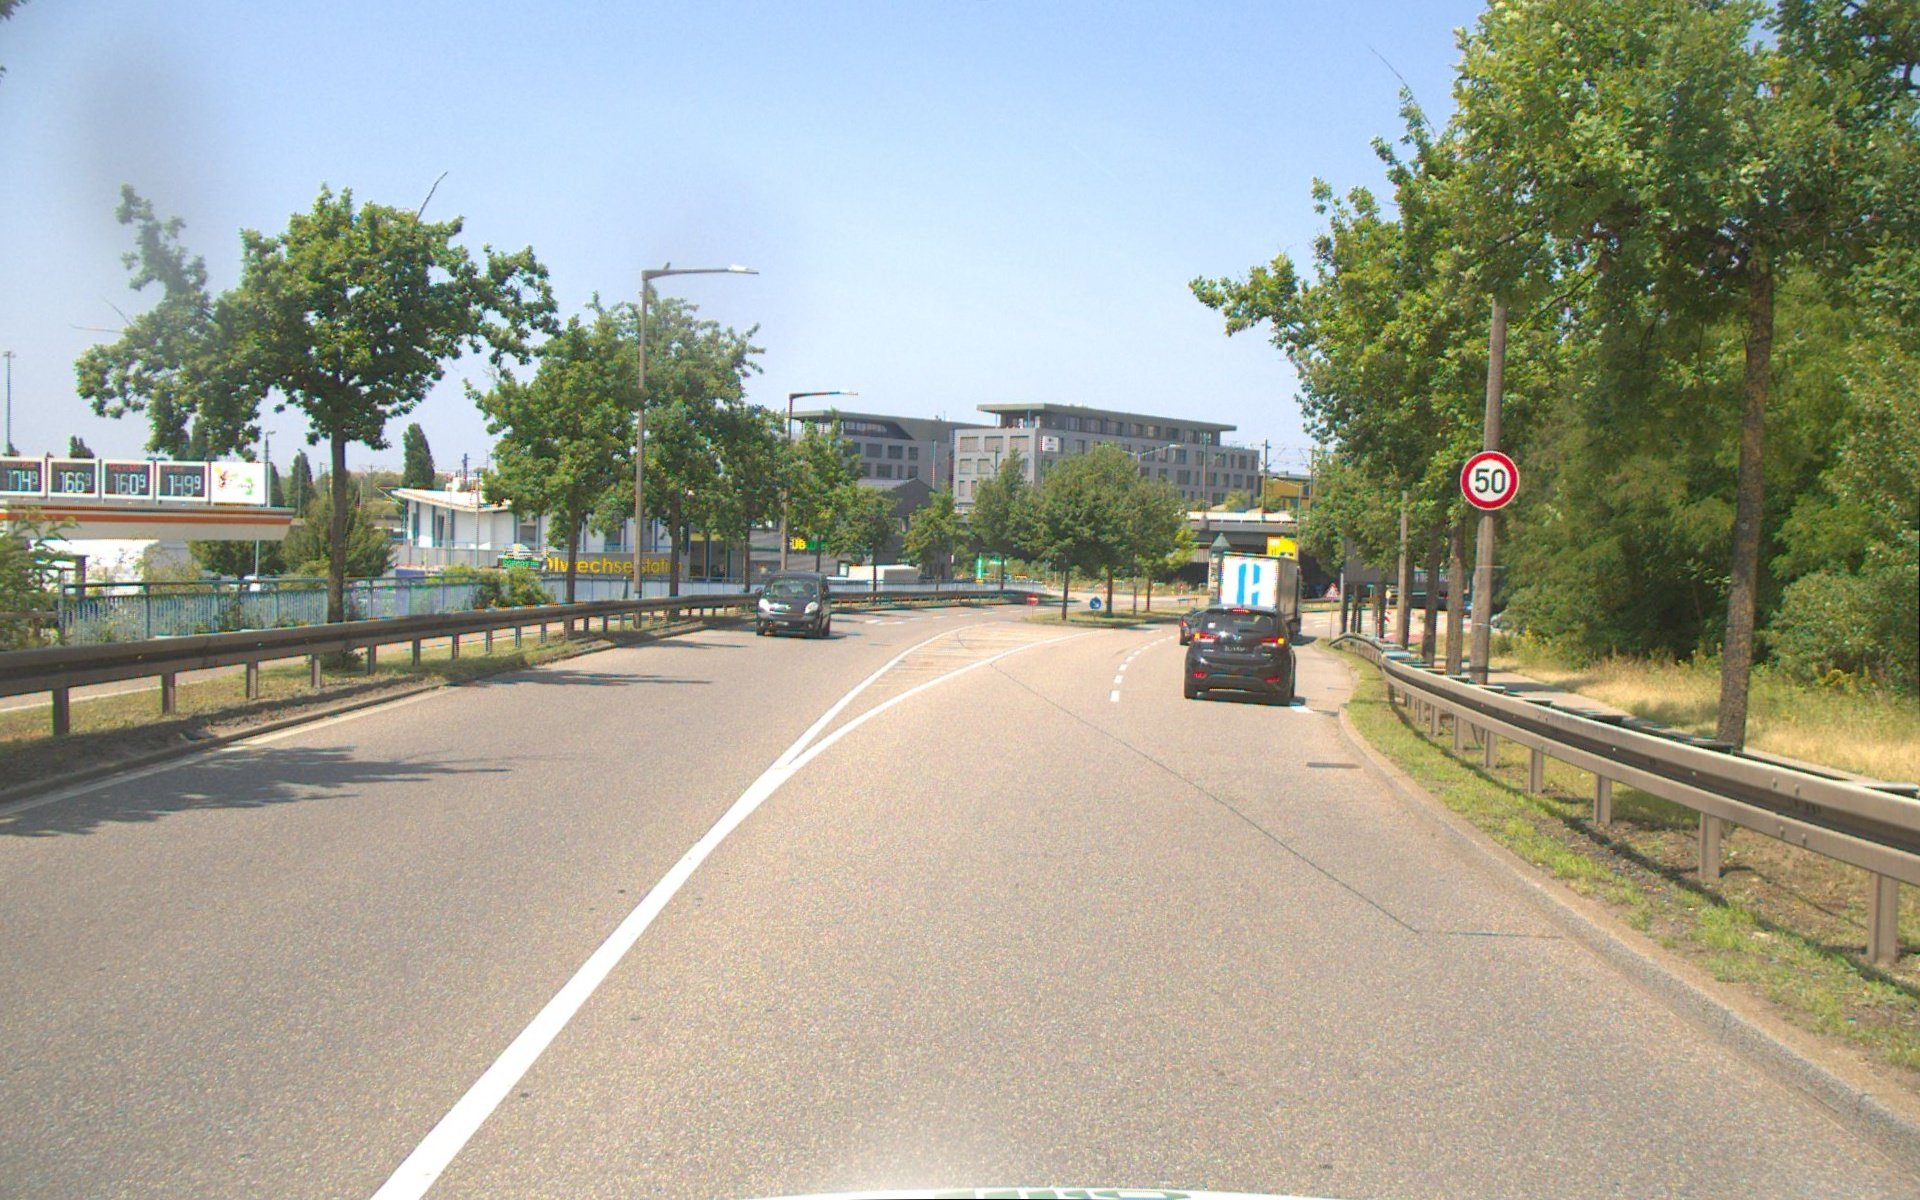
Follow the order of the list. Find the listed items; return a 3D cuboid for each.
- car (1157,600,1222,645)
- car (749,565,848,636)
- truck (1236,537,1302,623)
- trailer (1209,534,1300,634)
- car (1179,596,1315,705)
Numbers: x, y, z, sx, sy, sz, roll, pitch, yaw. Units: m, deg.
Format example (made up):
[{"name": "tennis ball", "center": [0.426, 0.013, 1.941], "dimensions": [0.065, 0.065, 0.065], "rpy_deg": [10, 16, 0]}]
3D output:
[{"name": "car", "center": [9.067, 0.860, 65.034], "dimensions": [1.915, 1.662, 4.283], "rpy_deg": [1, 0, 16]}, {"name": "car", "center": [-4.410, 0.006, 45.855], "dimensions": [1.769, 1.790, 4.255], "rpy_deg": [3, 0, 7]}, {"name": "truck", "center": [16.911, -1.130, 90.275], "dimensions": [3.011, 4.444, 6.084], "rpy_deg": [2, 2, 14]}, {"name": "trailer", "center": [14.839, -0.927, 82.421], "dimensions": [3.013, 4.444, 14.786], "rpy_deg": [2, 2, 15]}, {"name": "car", "center": [4.996, 0.823, 28.397], "dimensions": [1.730, 1.627, 4.079], "rpy_deg": [3, 0, 17]}]
